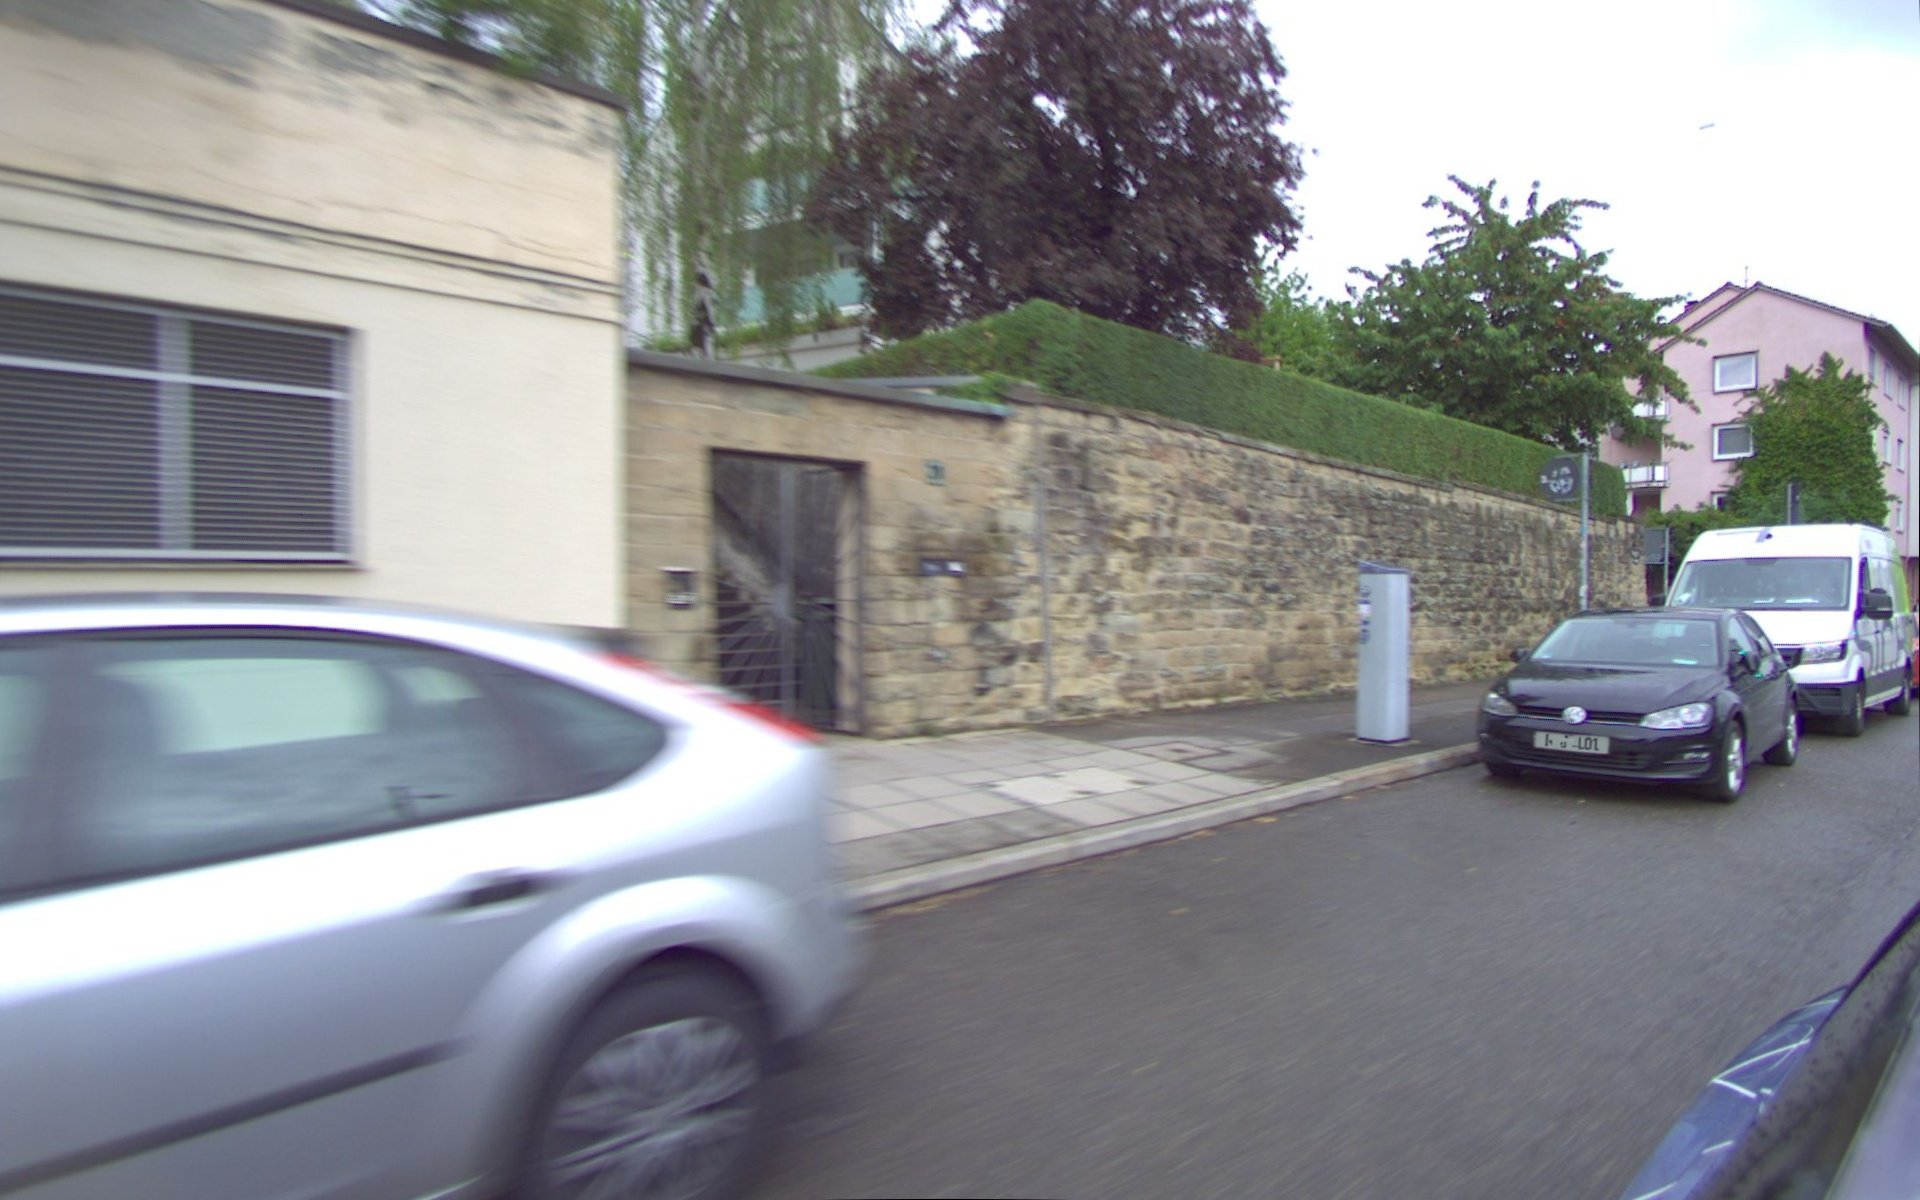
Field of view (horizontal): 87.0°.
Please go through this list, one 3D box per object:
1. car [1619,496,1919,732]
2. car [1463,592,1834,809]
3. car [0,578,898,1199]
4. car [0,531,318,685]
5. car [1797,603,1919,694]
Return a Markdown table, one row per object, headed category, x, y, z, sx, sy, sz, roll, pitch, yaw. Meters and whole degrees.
| category | x | y | z | sx | sy | sz | roll | pitch | yaw |
| --- | --- | --- | --- | --- | --- | --- | --- | --- | --- |
| car | 11.059 | 0.185 | 13.457 | 5.971 | 2.495 | 2.209 | 1 | -1 | -40 |
| car | 6.178 | 0.711 | 8.892 | 4.161 | 1.472 | 1.691 | 1 | -1 | -41 |
| car | -2.279 | 0.704 | 1.957 | 4.161 | 1.472 | 1.691 | 1 | -1 | -41 |
| car | -8.818 | 0.049 | 9.867 | 4.128 | 1.363 | 1.891 | -2 | 2 | -39 |
| car | 16.254 | 0.786 | 17.700 | 4.127 | 1.439 | 1.724 | 1 | -1 | -39 |
